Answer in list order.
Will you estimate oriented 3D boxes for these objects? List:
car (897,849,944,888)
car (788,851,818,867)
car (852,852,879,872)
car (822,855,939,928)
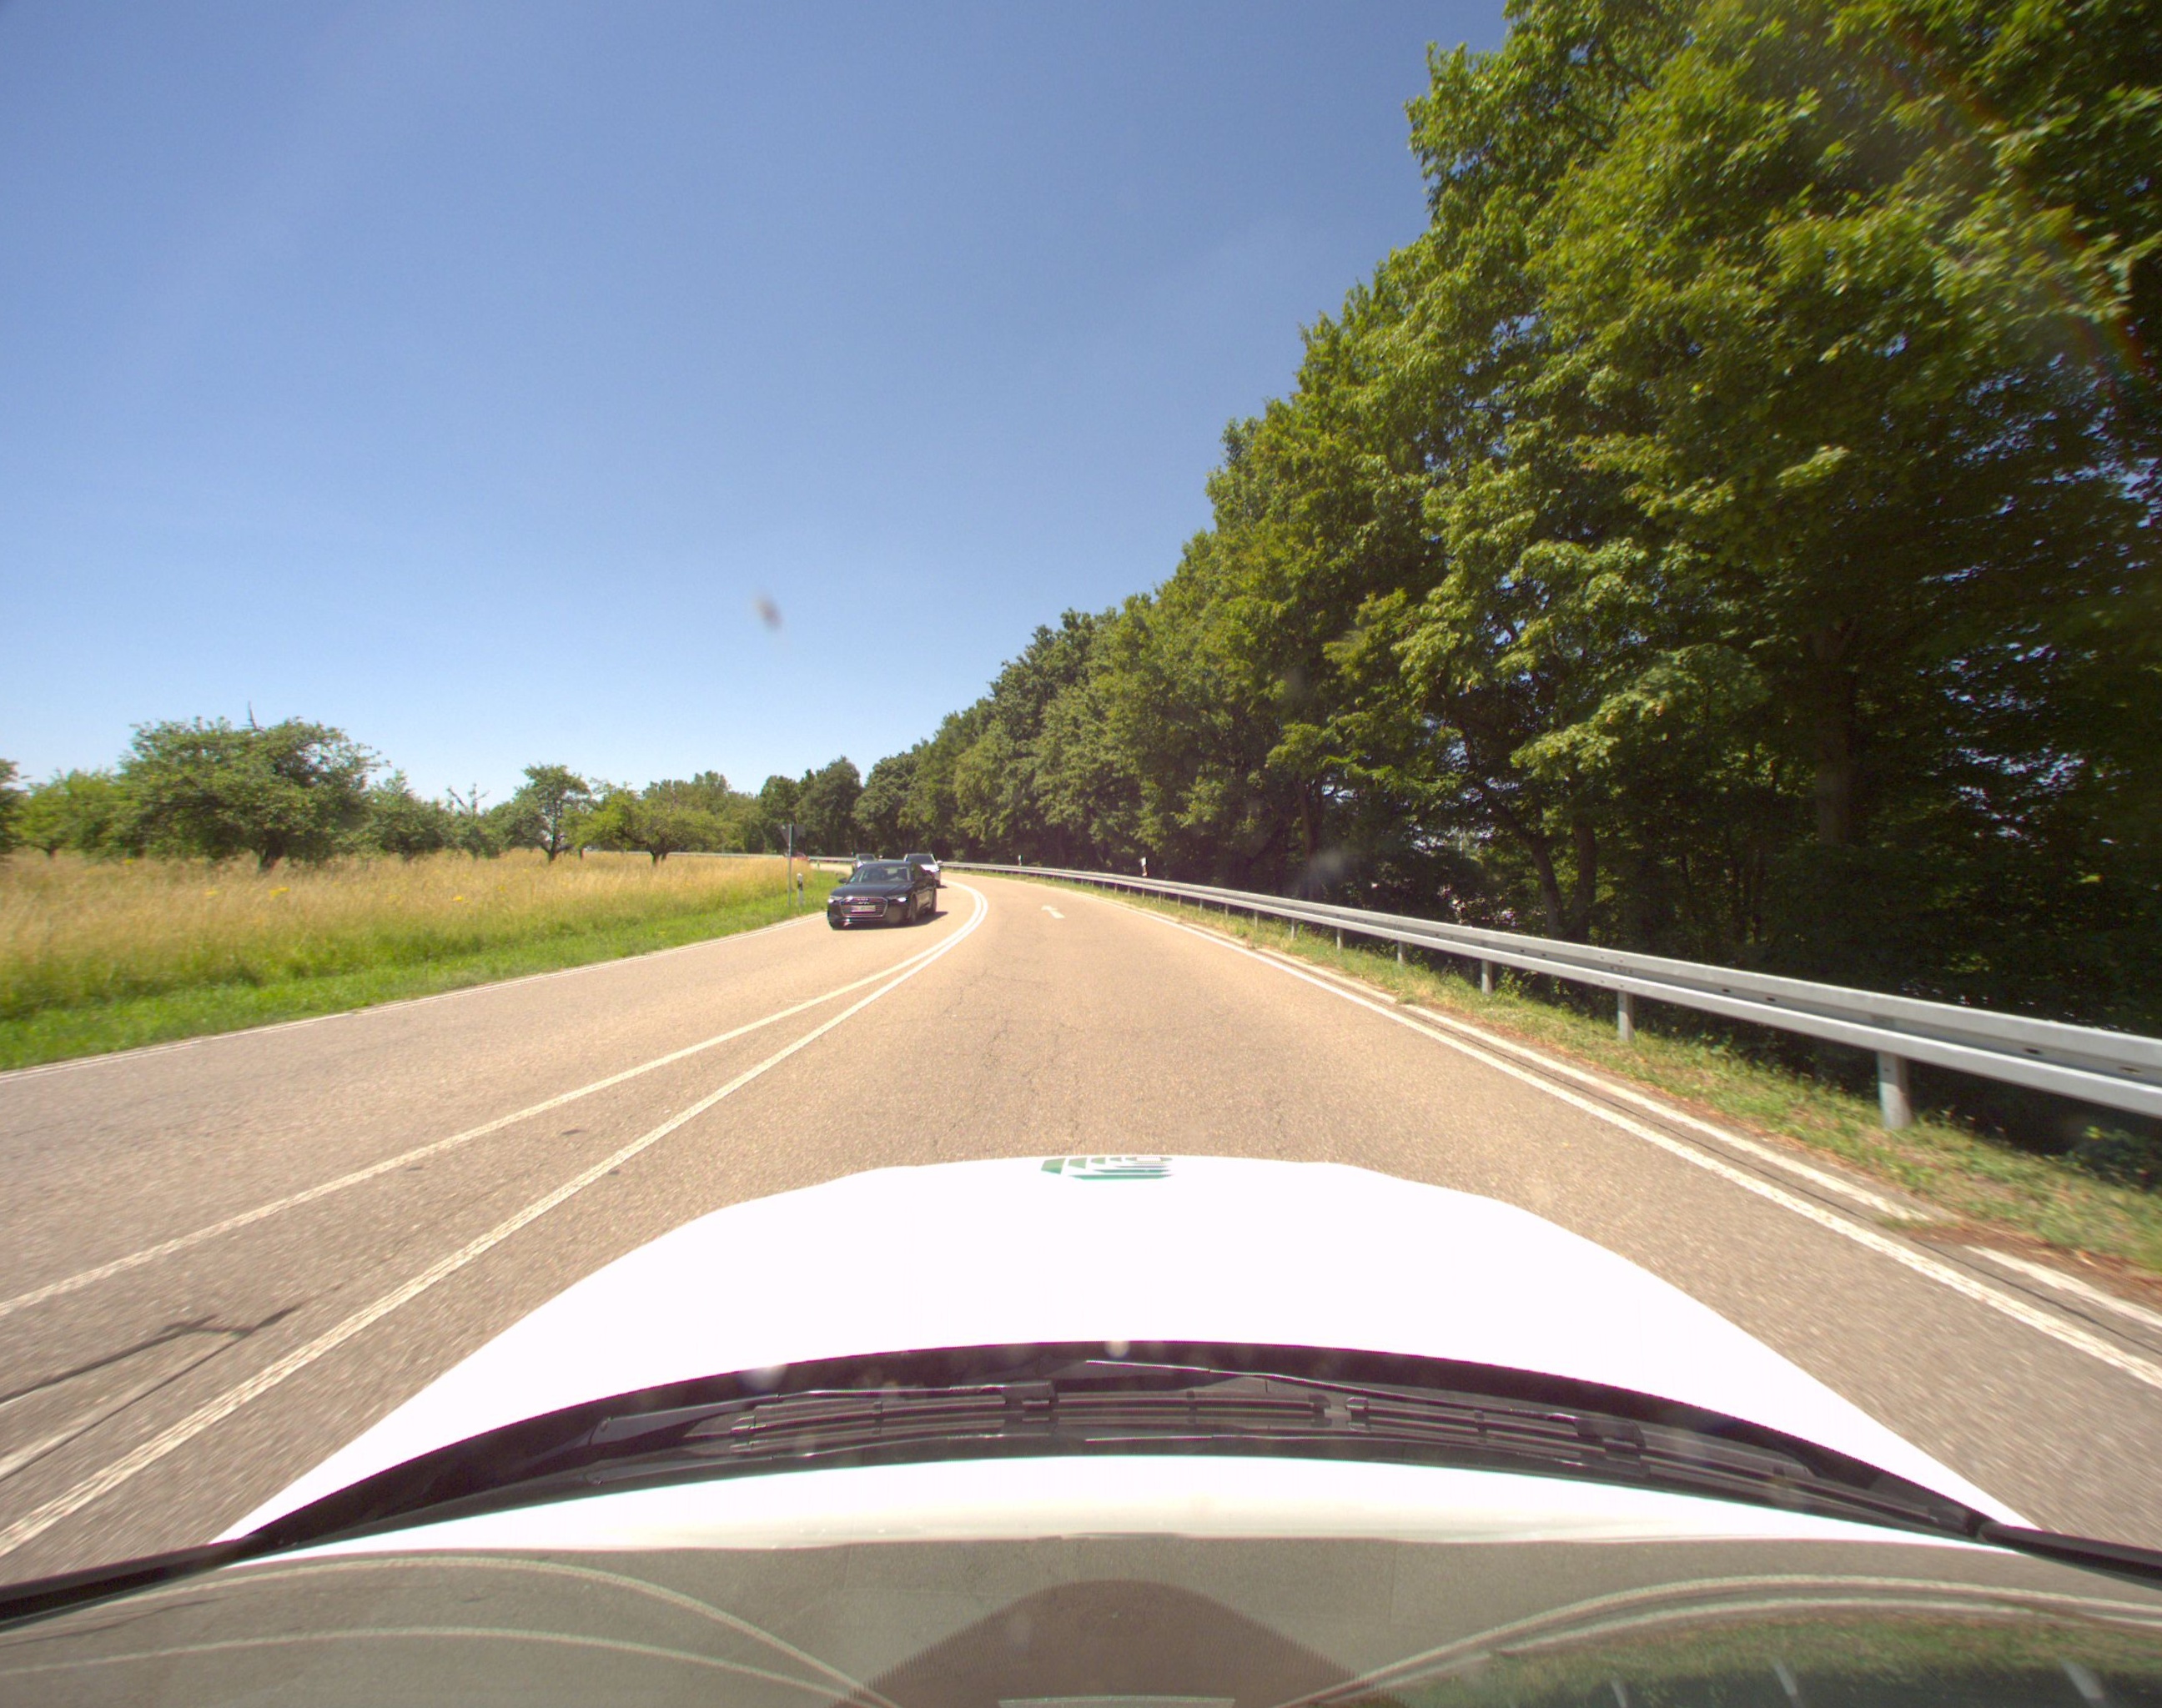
[{"bbox_3d":[-7.543,0.678,38.066,1.826,1.590,4.195,-3,-1,-15],"label":"car"},{"bbox_3d":[-28.842,0.496,84.463,1.836,1.458,4.353,-3,-1,-34],"label":"car"},{"bbox_3d":[-16.512,0.588,62.343,1.740,1.507,4.047,0,0,-18],"label":"car"},{"bbox_3d":[-4.711,0.815,19.830,1.798,1.507,4.654,-2,0,-2],"label":"car"}]
